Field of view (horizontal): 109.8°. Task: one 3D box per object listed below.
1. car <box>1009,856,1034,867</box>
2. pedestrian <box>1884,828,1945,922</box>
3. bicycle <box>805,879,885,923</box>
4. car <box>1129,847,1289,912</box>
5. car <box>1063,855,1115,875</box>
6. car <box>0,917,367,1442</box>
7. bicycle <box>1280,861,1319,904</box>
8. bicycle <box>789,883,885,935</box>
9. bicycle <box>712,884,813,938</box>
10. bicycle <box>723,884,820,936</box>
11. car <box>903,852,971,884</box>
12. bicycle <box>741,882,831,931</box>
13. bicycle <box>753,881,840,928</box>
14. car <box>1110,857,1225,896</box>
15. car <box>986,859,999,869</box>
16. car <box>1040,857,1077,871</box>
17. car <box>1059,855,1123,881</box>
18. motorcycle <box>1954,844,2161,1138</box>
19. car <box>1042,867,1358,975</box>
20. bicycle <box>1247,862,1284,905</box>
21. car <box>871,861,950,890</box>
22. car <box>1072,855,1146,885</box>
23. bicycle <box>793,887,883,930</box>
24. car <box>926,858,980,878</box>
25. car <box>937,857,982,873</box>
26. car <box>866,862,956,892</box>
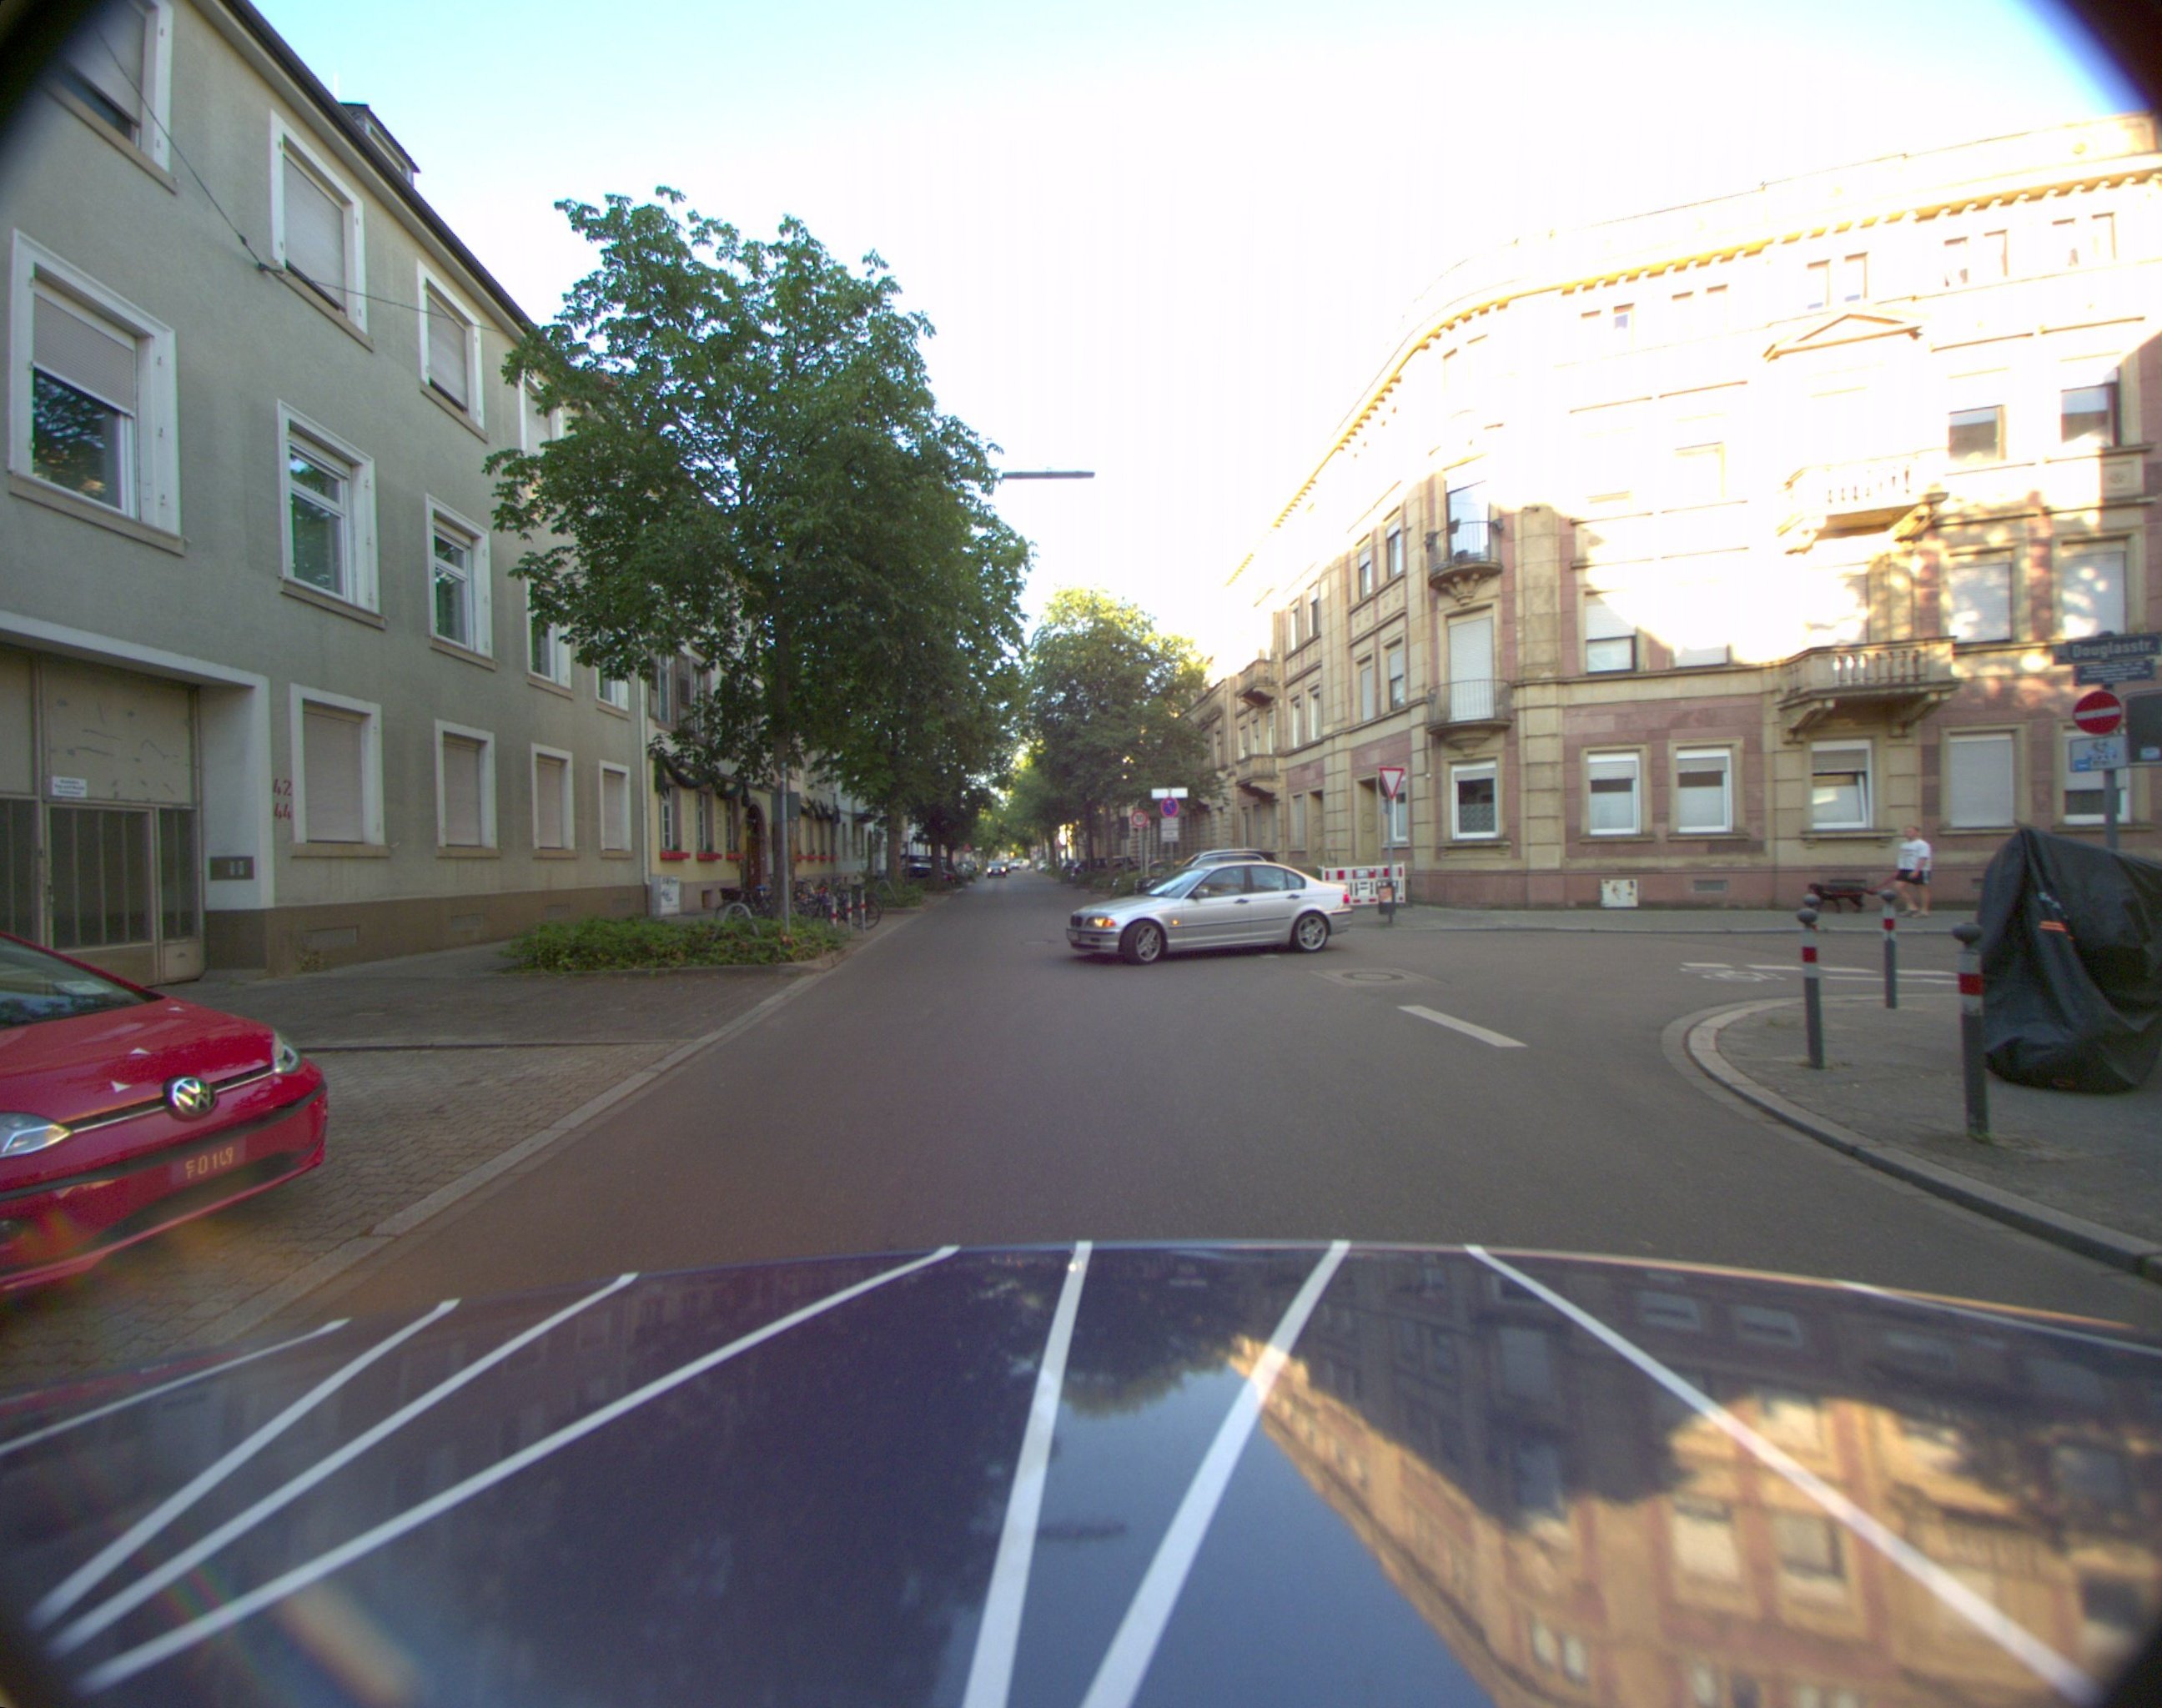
[{"bbox_3d":[-9.769,1.224,125.053,1.994,1.753,4.008,0,0,31],"label":"car"},{"bbox_3d":[15.635,0.386,14.264,0.567,1.733,0.551,0,1,16],"label":"pedestrian"},{"bbox_3d":[-6.493,1.287,20.975,2.042,1.139,0.421,-1,0,-6],"label":"bicycle"},{"bbox_3d":[3.948,0.749,23.817,4.590,1.728,1.775,-3,1,-4],"label":"car"},{"bbox_3d":[0.607,0.901,60.155,4.032,1.474,1.776,-1,0,-4],"label":"car"},{"bbox_3d":[-5.136,1.047,2.607,3.667,1.467,1.565,0,0,-7],"label":"car"},{"bbox_3d":[5.981,0.758,20.889,0.364,1.083,1.869,-3,1,-5],"label":"bicycle"},{"bbox_3d":[-5.604,1.256,17.518,2.041,1.139,0.446,-1,0,-5],"label":"bicycle"},{"bbox_3d":[-7.089,1.258,16.947,2.041,1.139,0.446,-1,0,-2],"label":"bicycle"},{"bbox_3d":[-7.252,1.296,17.848,2.042,1.139,0.421,-1,0,-6],"label":"bicycle"},{"bbox_3d":[-10.013,0.956,53.168,4.444,2.110,1.776,-1,0,-4],"label":"car"},{"bbox_3d":[-7.397,1.311,19.078,2.042,1.139,0.421,-1,0,-6],"label":"bicycle"},{"bbox_3d":[-7.394,1.299,19.780,2.042,1.139,0.421,-1,0,-6],"label":"bicycle"},{"bbox_3d":[3.530,0.925,31.505,4.444,1.478,1.776,-1,0,-4],"label":"car"},{"bbox_3d":[-13.209,1.466,113.534,1.828,1.364,3.998,-1,0,-5],"label":"car"},{"bbox_3d":[-2.811,1.217,92.901,4.444,1.638,1.776,-1,0,-4],"label":"car"},{"bbox_3d":[0.700,0.994,54.539,4.444,1.728,1.776,-1,0,-4],"label":"car"},{"bbox_3d":[6.435,0.719,4.790,2.165,1.546,0.668,-1,0,-26],"label":"motorcycle"},{"bbox_3d":[1.791,0.919,11.518,4.475,1.395,1.680,0,-1,-19],"label":"car"},{"bbox_3d":[5.046,0.788,20.891,0.364,1.083,1.869,-3,1,-5],"label":"bicycle"},{"bbox_3d":[-10.330,1.292,46.210,4.444,1.603,1.776,-1,0,-4],"label":"car"},{"bbox_3d":[1.748,0.975,47.654,4.444,1.728,1.776,-1,0,-4],"label":"car"},{"bbox_3d":[-5.979,1.338,18.749,2.042,0.998,0.421,-1,0,-6],"label":"bicycle"},{"bbox_3d":[-11.201,1.200,66.578,4.444,1.603,1.776,-1,0,-4],"label":"car"},{"bbox_3d":[-12.532,1.133,78.724,4.444,1.603,1.776,-1,0,-4],"label":"car"},{"bbox_3d":[-9.012,1.204,40.563,4.444,1.496,1.776,-1,0,-4],"label":"car"}]
